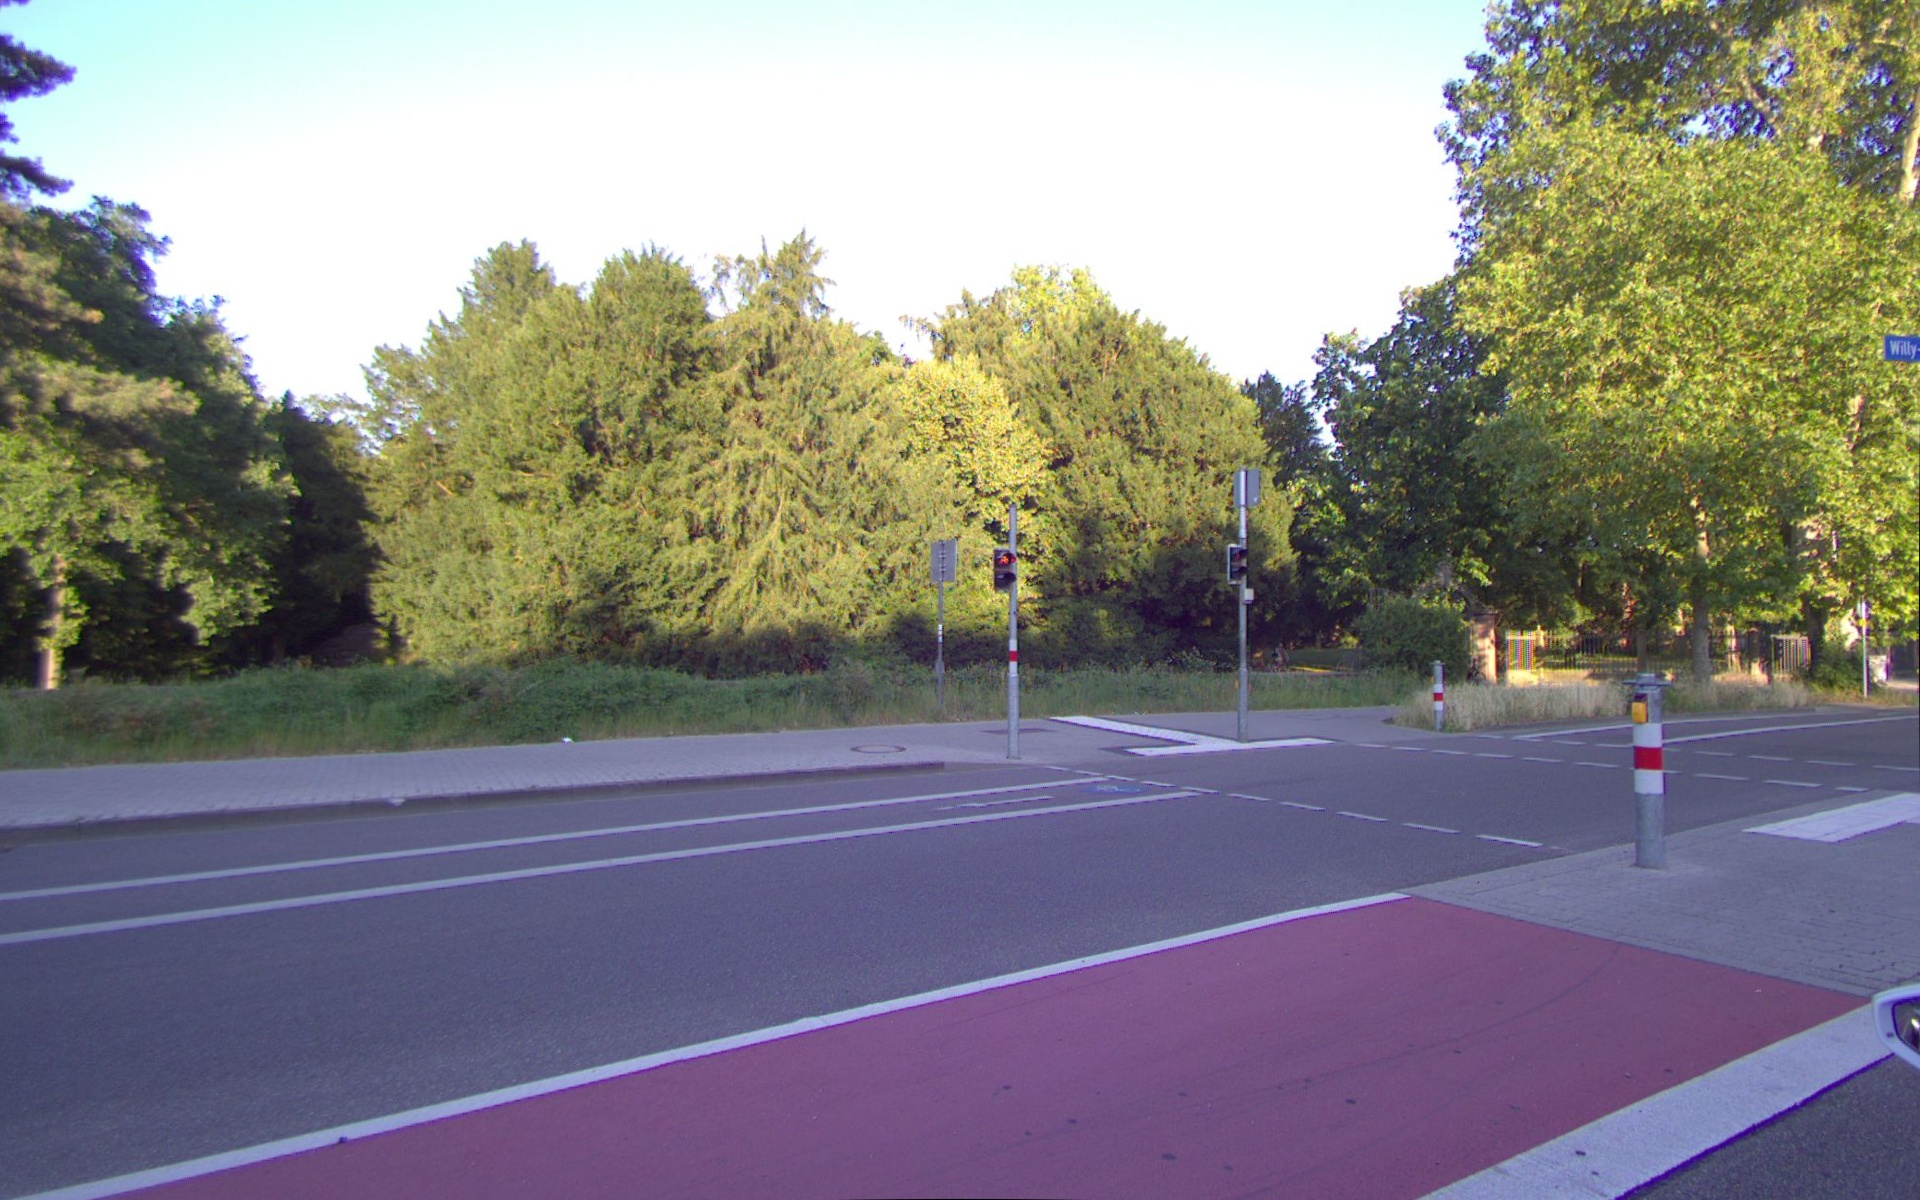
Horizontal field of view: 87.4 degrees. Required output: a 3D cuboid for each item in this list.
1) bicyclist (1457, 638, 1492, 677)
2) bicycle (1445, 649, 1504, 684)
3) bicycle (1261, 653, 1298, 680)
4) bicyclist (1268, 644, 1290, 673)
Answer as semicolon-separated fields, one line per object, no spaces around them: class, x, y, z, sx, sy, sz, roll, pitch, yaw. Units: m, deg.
bicyclist;19.495;2.177;38.095;0.780;1.445;0.888;1;-2;-21
bicycle;19.473;2.488;38.075;0.780;1.273;1.971;1;-2;-20
bicycle;15.450;3.217;48.631;1.609;1.245;0.570;-2;-3;42
bicyclist;15.463;2.833;48.663;0.827;1.379;0.570;-1;-2;42
